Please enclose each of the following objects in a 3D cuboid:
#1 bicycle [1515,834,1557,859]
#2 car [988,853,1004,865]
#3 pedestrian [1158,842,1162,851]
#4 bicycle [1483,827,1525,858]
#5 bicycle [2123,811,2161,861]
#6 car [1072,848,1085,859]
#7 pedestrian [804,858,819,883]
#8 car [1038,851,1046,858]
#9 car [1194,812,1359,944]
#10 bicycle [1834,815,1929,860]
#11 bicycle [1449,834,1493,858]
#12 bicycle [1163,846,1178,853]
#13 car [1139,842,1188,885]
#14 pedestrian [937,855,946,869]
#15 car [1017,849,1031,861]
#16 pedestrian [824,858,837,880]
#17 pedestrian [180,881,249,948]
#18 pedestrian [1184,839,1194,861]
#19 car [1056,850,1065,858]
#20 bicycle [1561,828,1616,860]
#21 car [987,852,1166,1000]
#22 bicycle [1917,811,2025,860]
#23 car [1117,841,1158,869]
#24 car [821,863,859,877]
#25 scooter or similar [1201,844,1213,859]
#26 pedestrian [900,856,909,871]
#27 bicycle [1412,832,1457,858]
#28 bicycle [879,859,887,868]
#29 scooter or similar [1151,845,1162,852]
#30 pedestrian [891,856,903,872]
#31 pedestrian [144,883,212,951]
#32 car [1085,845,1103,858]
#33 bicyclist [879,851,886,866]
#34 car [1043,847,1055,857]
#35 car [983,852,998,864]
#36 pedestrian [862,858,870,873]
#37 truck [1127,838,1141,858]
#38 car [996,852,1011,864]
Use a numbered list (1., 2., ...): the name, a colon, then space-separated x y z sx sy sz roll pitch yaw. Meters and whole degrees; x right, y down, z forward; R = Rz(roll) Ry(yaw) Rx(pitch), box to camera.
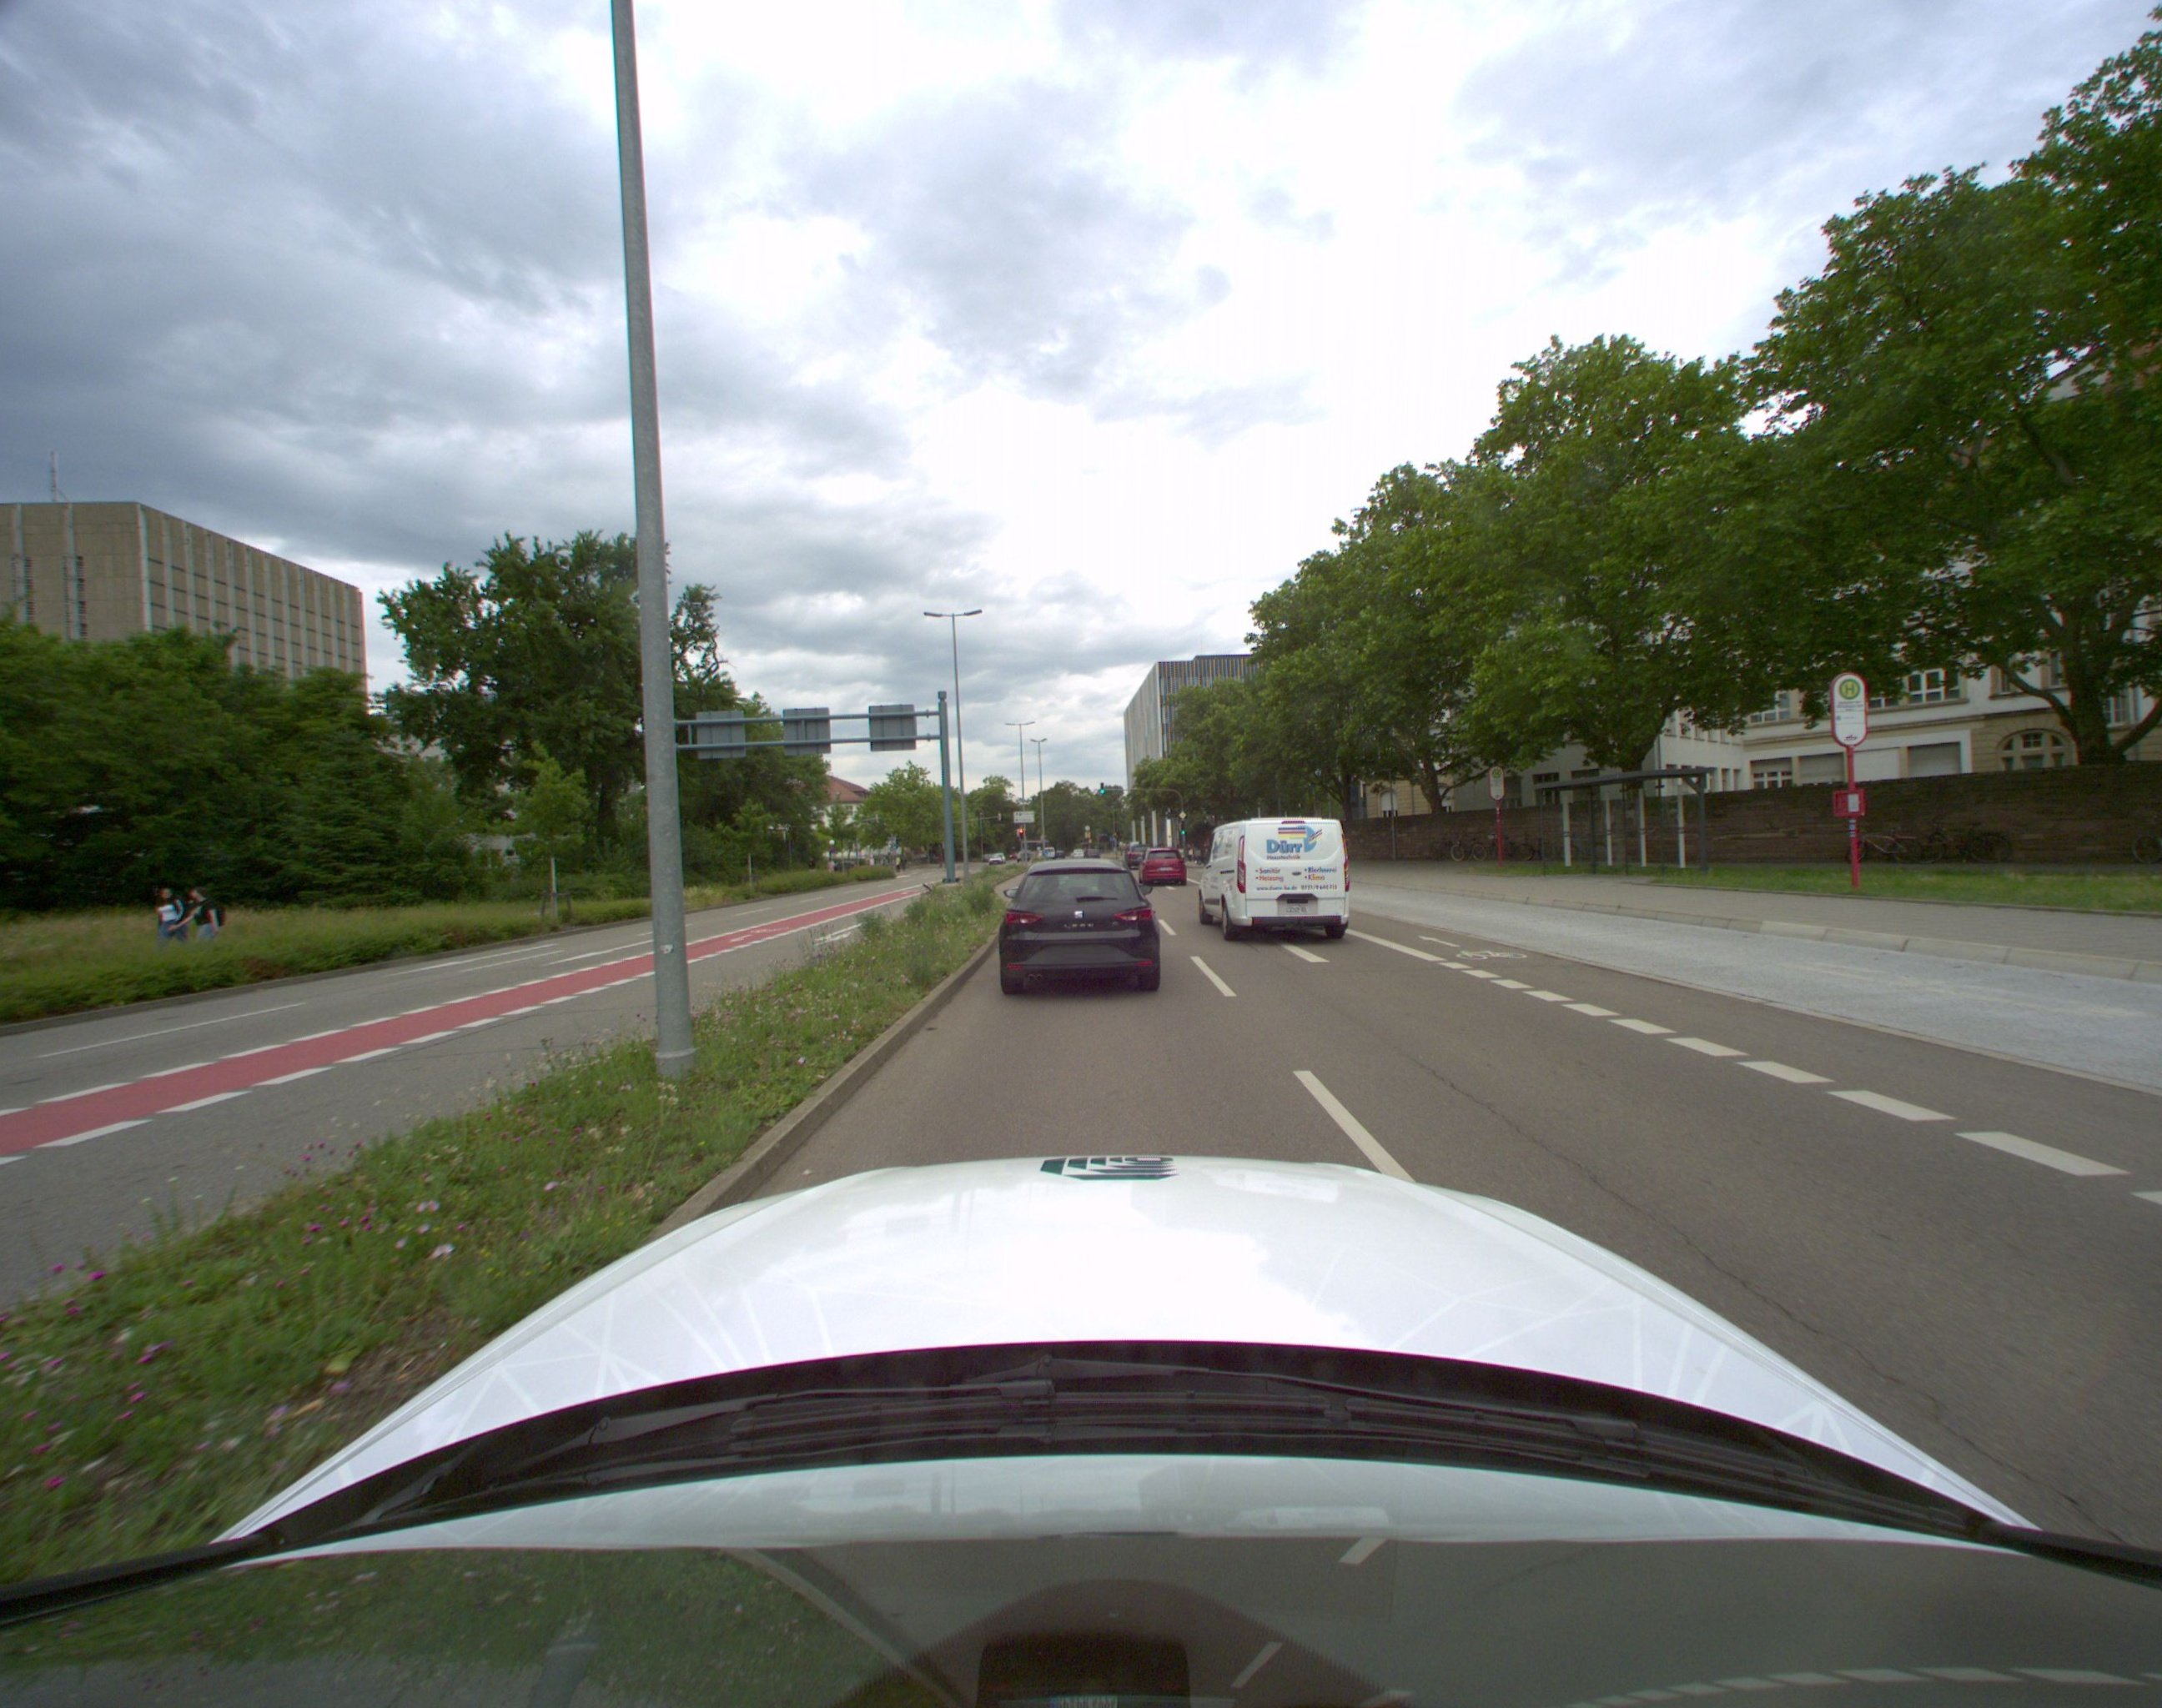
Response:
1. bicycle: 18.006 -0.292 32.244 0.417 0.942 1.516 -4 1 -17
2. car: -10.928 0.602 105.087 1.602 1.381 3.809 -4 1 1
3. pedestrian: 11.884 -1.117 122.156 0.469 1.361 0.447 -4 1 10
4. bicycle: 17.526 -0.460 33.782 0.500 1.221 1.617 -4 1 -17
5. bicycle: 23.601 -0.400 17.300 0.597 1.059 1.699 -4 1 -25
6. car: -0.376 -0.081 114.119 1.612 1.354 3.996 -4 1 -3
7. pedestrian: -19.113 1.163 57.738 0.618 1.729 0.818 -4 1 0
8. car: -7.373 0.044 154.254 1.354 1.193 2.874 -4 1 -3
9. car: 3.282 0.336 14.560 1.959 1.972 4.345 -1 1 1
10. bicycle: 21.613 -0.434 22.026 0.597 1.136 1.699 -4 1 -25
11. bicycle: 16.984 -0.335 35.515 0.655 0.951 1.760 -4 1 -17
12. bicycle: 11.999 -0.609 109.579 1.893 0.898 0.692 -5 1 -21
13. car: 3.477 0.361 34.604 1.940 1.624 3.754 -1 1 5
14. pedestrian: -17.071 0.973 99.596 0.873 1.586 0.542 -4 1 -7
15. car: -7.961 0.127 113.941 1.761 1.460 4.783 -5 0 -5
16. pedestrian: -19.477 1.190 63.241 0.698 1.636 0.671 -4 1 0
17. pedestrian: -18.818 1.293 17.704 0.646 1.358 0.708 -4 1 -13
18. pedestrian: 8.690 -0.315 65.555 0.459 1.739 0.550 -5 1 -39
19. car: -3.571 -0.016 140.739 1.502 1.193 3.160 -4 1 -3
20. bicycle: 18.525 -0.359 29.756 0.598 1.104 1.644 -4 1 -19
21. car: 0.038 0.717 9.976 1.746 1.432 3.771 -1 0 3
22. bicycle: 22.335 -0.457 20.465 0.597 1.129 1.699 -4 1 -25
23. car: 3.758 0.041 54.985 1.912 1.664 4.105 -4 1 -6
24. car: -26.226 1.721 88.847 3.650 1.223 1.561 -2 7 -6
25. scooter or similar: 10.821 -0.186 69.746 0.428 1.179 1.714 -5 1 25
26. pedestrian: -19.840 1.058 91.501 0.792 1.558 0.694 -3 -3 -20
27. bicycle: 16.283 -0.388 37.546 0.723 1.100 1.775 -5 1 -29
28. bicycle: -22.051 1.059 90.595 0.668 1.062 1.609 -1 -1 -18
29. scooter or similar: 12.222 -0.876 131.695 1.682 1.106 0.494 -5 1 -31
30. pedestrian: -20.166 1.086 89.174 0.847 1.739 0.821 -1 -5 -38
31. pedestrian: -19.563 1.350 17.660 0.646 1.362 0.677 -4 1 -13
32. car: 1.528 -0.302 100.302 1.894 1.354 3.879 -4 1 -3
33. bicyclist: -22.062 0.530 90.617 0.668 1.635 0.955 -1 -1 -18
34. car: -4.964 -0.306 126.107 1.691 1.503 4.006 -4 1 -3
35. car: -15.497 0.666 139.816 1.900 1.716 4.000 -4 1 0
36. pedestrian: -23.428 1.285 88.779 0.573 1.526 0.842 -3 -4 -23
37. truck: 6.247 -0.677 96.149 1.313 2.243 3.402 -4 1 0
38. car: -10.574 0.508 111.698 1.701 1.431 4.223 -4 1 -2
